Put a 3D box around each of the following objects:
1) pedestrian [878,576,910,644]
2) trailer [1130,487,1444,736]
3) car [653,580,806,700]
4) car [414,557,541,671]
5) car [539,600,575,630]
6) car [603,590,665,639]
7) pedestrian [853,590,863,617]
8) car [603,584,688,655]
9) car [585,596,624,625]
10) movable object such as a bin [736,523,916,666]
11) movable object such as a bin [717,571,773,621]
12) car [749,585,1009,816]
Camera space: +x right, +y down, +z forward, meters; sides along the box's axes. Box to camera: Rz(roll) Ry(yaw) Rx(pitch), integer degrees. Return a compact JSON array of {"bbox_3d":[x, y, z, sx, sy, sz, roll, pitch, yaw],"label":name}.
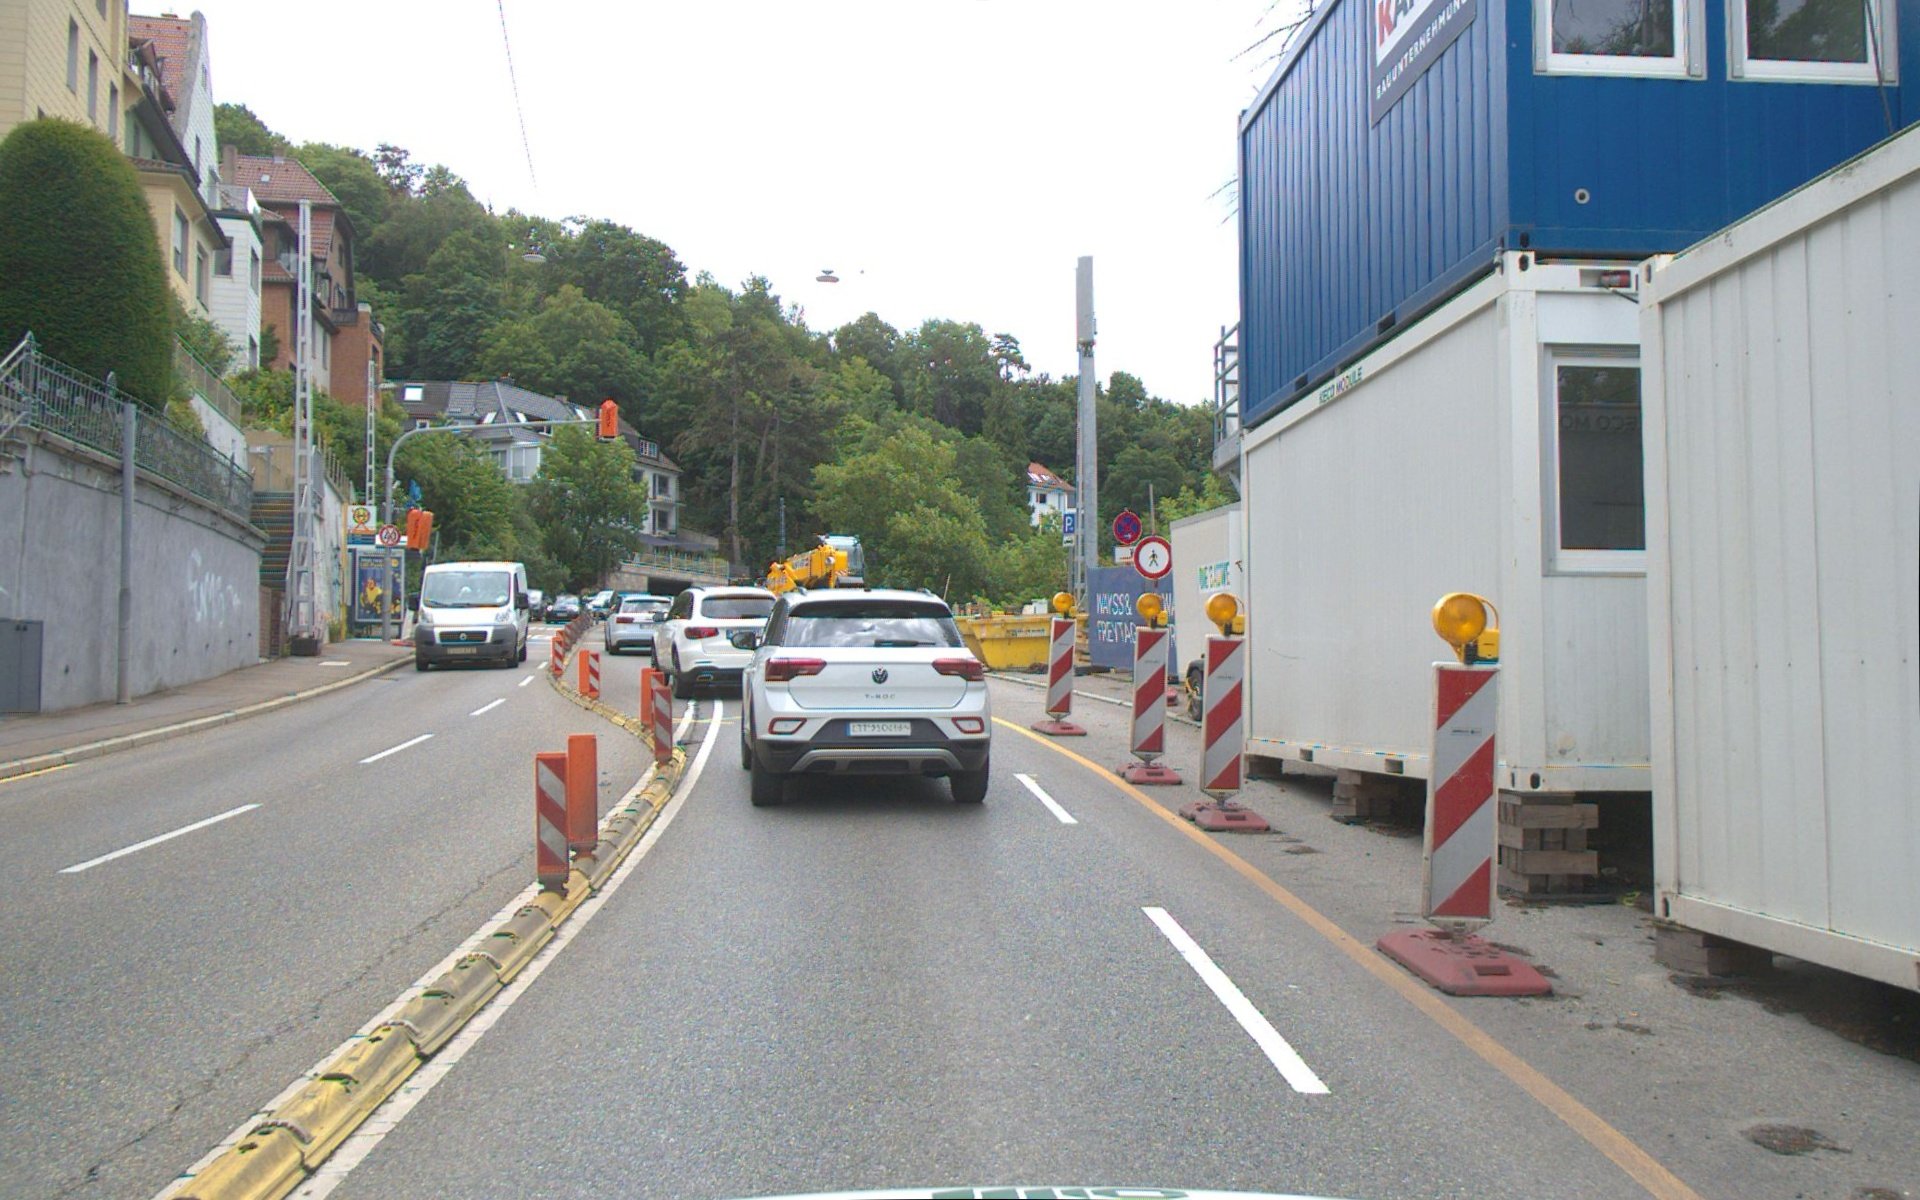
[{"bbox_3d":[-1.769,0.270,44.447,0.680,1.826,0.535,1,0,-26],"label":"pedestrian"},{"bbox_3d":[3.774,0.104,20.205,2.068,2.594,5.108,-1,0,-9],"label":"trailer"},{"bbox_3d":[-3.683,0.568,25.864,1.781,1.692,3.981,-1,0,-17],"label":"car"},{"bbox_3d":[-10.299,0.255,35.662,2.029,2.225,4.951,-2,1,-10],"label":"car"},{"bbox_3d":[-20.093,0.747,82.534,1.643,1.455,3.576,0,0,-13],"label":"car"},{"bbox_3d":[-10.803,0.460,54.702,1.764,1.537,3.984,-1,0,-15],"label":"car"},{"bbox_3d":[-7.435,0.272,120.829,0.676,1.940,0.825,0,0,-3],"label":"pedestrian"},{"bbox_3d":[-8.035,0.457,42.024,1.780,1.692,3.983,-1,0,-16],"label":"car"},{"bbox_3d":[-20.571,0.571,95.833,1.806,1.627,4.257,1,0,-7],"label":"car"},{"bbox_3d":[-3.460,-0.135,40.459,2.767,3.124,7.786,1,0,-17],"label":"movable object such as a bin"},{"bbox_3d":[-12.064,-0.219,93.080,2.165,2.709,4.947,1,0,4],"label":"movable object such as a bin"},{"bbox_3d":[-0.794,0.674,13.288,1.775,1.558,3.993,0,0,-7],"label":"car"}]
